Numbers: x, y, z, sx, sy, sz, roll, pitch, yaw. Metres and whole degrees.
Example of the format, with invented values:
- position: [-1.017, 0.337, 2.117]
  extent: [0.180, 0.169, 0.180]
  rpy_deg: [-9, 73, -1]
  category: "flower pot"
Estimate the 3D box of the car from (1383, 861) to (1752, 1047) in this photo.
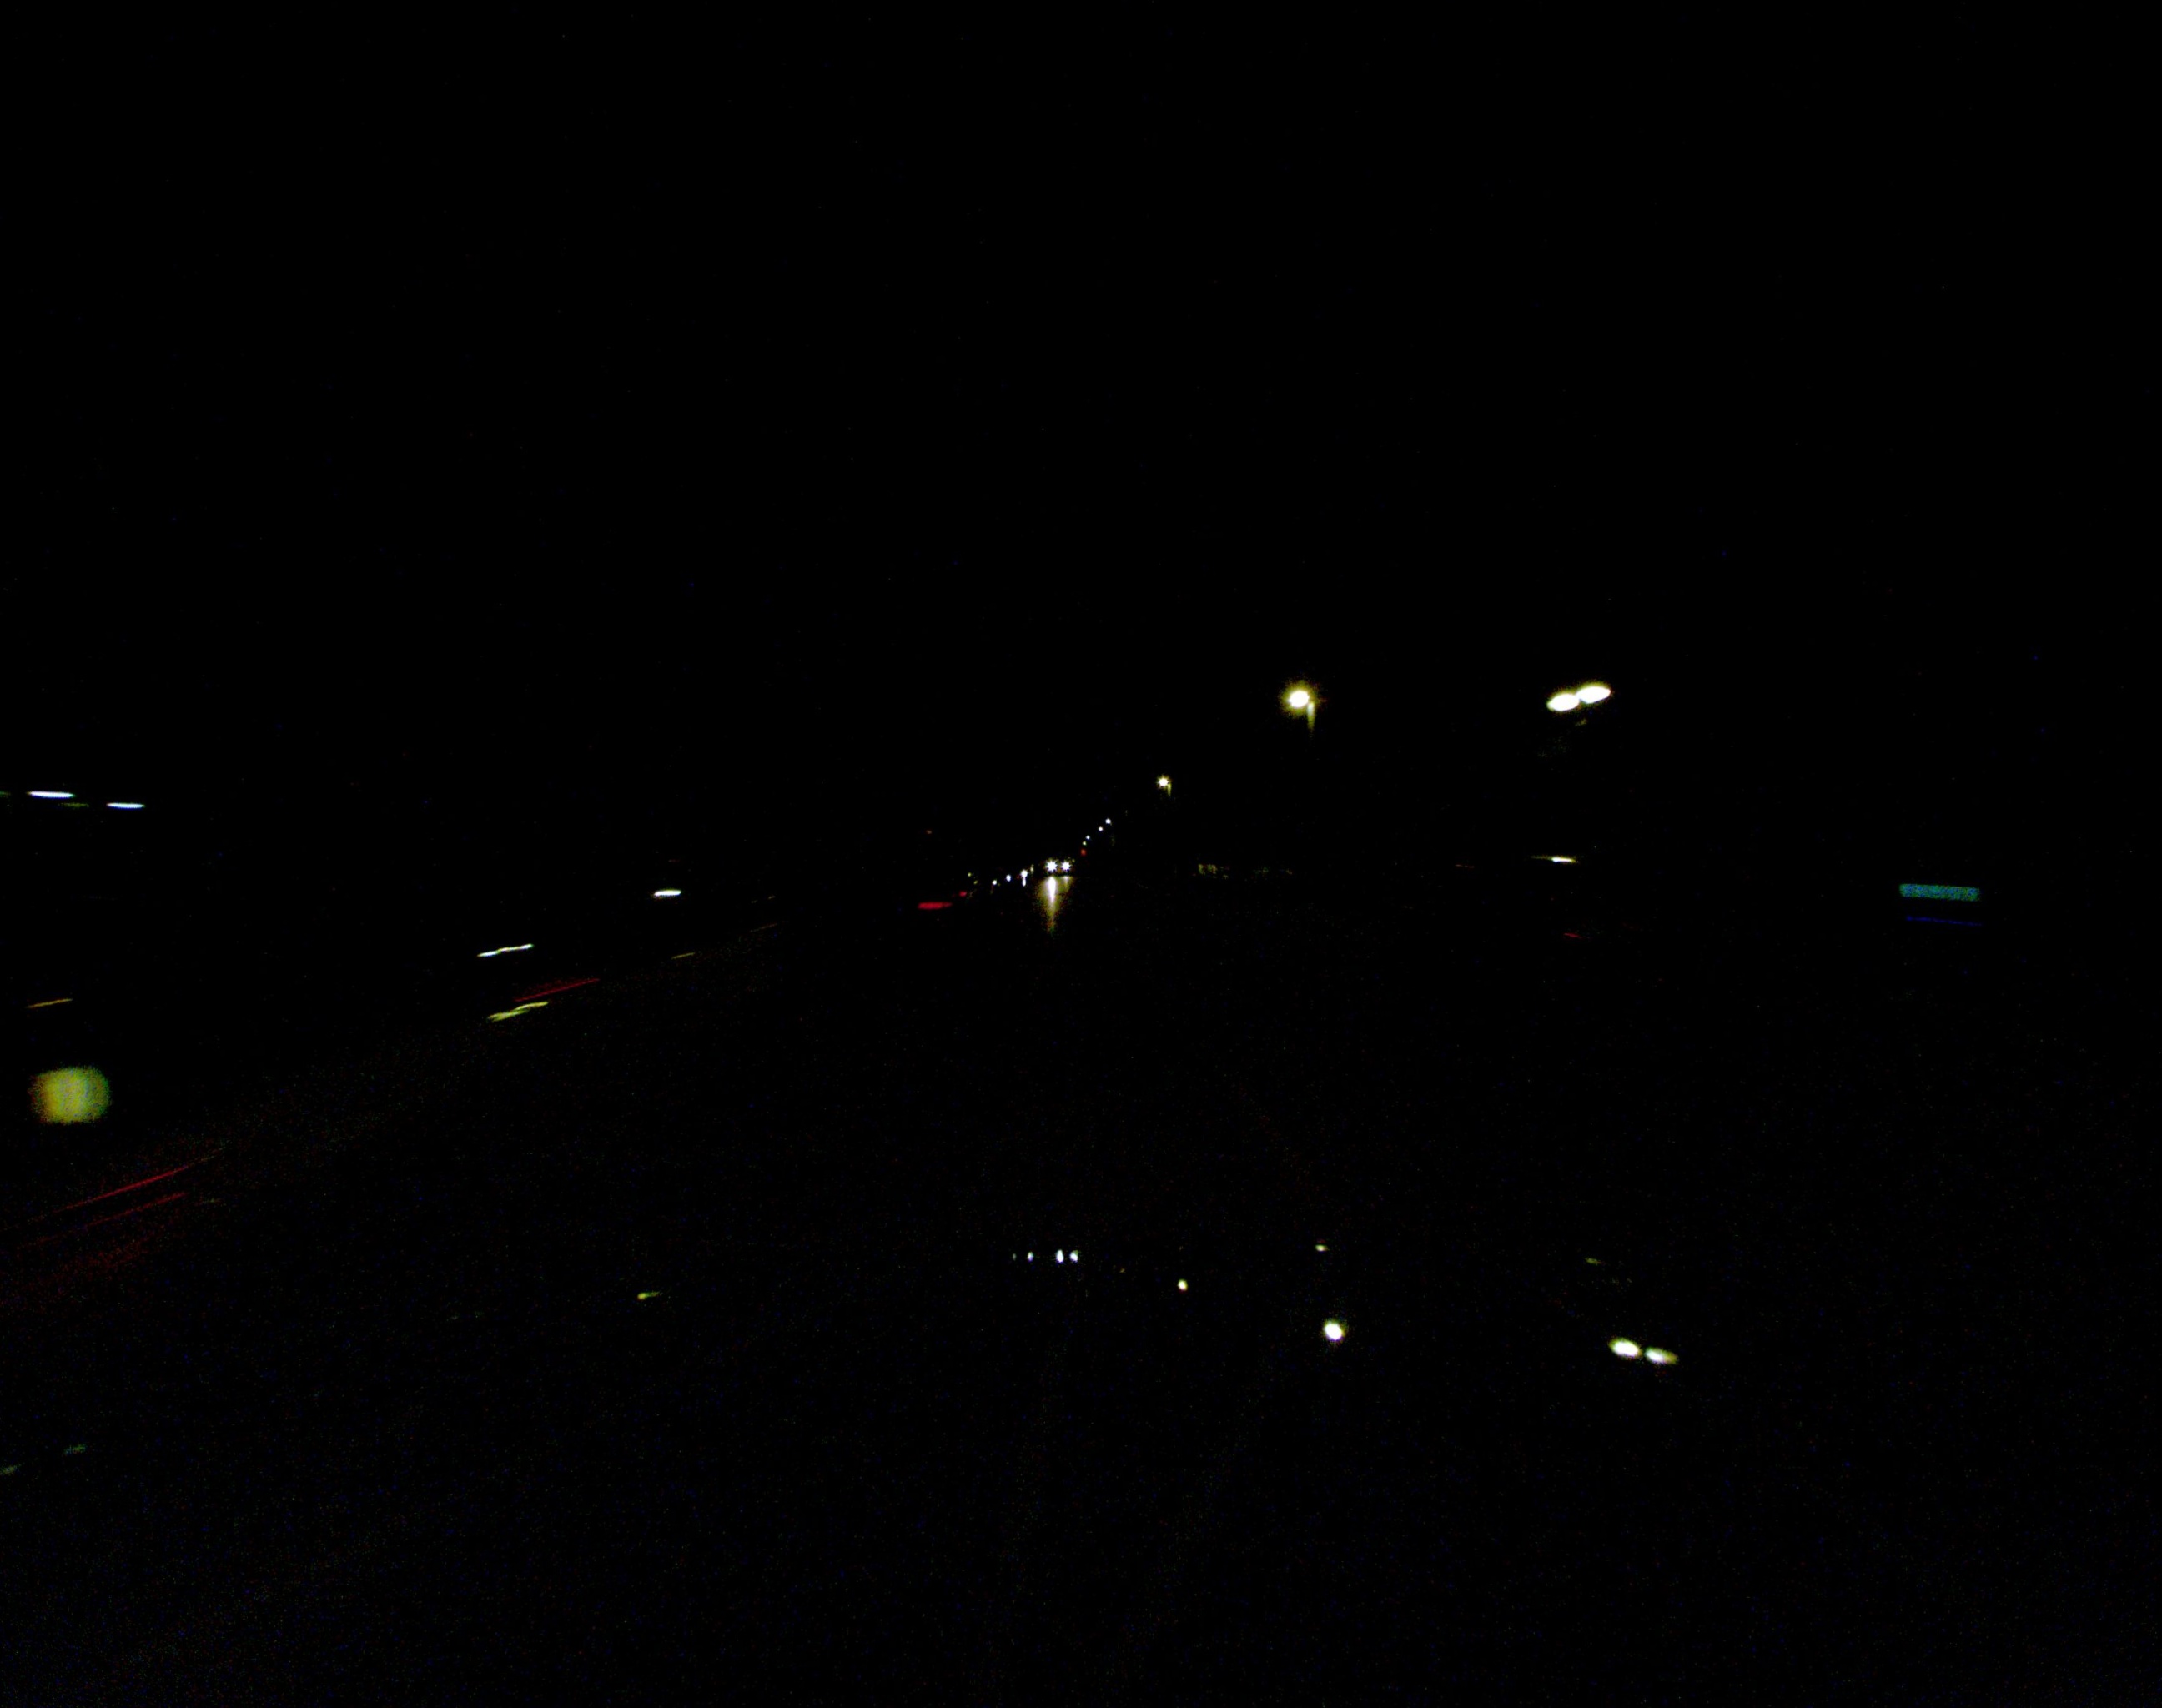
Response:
- position: [5.024, 0.896, 8.547]
  extent: [1.696, 1.515, 3.689]
  rpy_deg: [0, 1, -2]
  category: "car"

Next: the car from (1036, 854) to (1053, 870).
- position: [-3.590, 0.760, 74.515]
  extent: [1.656, 1.465, 3.516]
  rpy_deg: [-1, 0, -3]
  category: "car"

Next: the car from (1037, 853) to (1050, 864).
- position: [-4.791, 0.557, 97.411]
  extent: [1.702, 1.447, 3.713]
  rpy_deg: [-1, 0, -3]
  category: "car"

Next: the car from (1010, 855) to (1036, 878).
- position: [-3.842, 0.779, 50.651]
  extent: [1.681, 1.439, 3.998]
  rpy_deg: [0, 0, -3]
  category: "car"

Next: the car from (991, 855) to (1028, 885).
- position: [-3.746, 0.824, 40.222]
  extent: [1.643, 1.458, 3.775]
  rpy_deg: [-1, 0, -1]
  category: "car"

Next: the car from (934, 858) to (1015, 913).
- position: [-3.144, 0.894, 23.350]
  extent: [1.680, 1.439, 4.611]
  rpy_deg: [-1, 0, 2]
  category: "car"

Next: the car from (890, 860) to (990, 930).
- position: [-3.322, 0.904, 18.657]
  extent: [1.785, 1.429, 4.288]
  rpy_deg: [-1, 0, -2]
  category: "car"

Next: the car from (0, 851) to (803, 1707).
- position: [-2.950, 0.837, 3.330]
  extent: [1.791, 1.632, 4.379]
  rpy_deg: [2, 0, 0]
  category: "car"

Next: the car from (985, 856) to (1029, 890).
- position: [-3.352, 0.837, 35.107]
  extent: [1.767, 1.407, 4.439]
  rpy_deg: [0, 0, -3]
  category: "car"

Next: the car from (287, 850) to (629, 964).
- position: [-9.735, 0.752, 12.353]
  extent: [4.076, 1.576, 1.703]
  rpy_deg: [1, 1, -31]
  category: "car"

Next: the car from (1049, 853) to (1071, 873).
- position: [-1.652, 0.673, 58.689]
  extent: [1.628, 1.496, 3.549]
  rpy_deg: [-1, 0, -3]
  category: "car"
